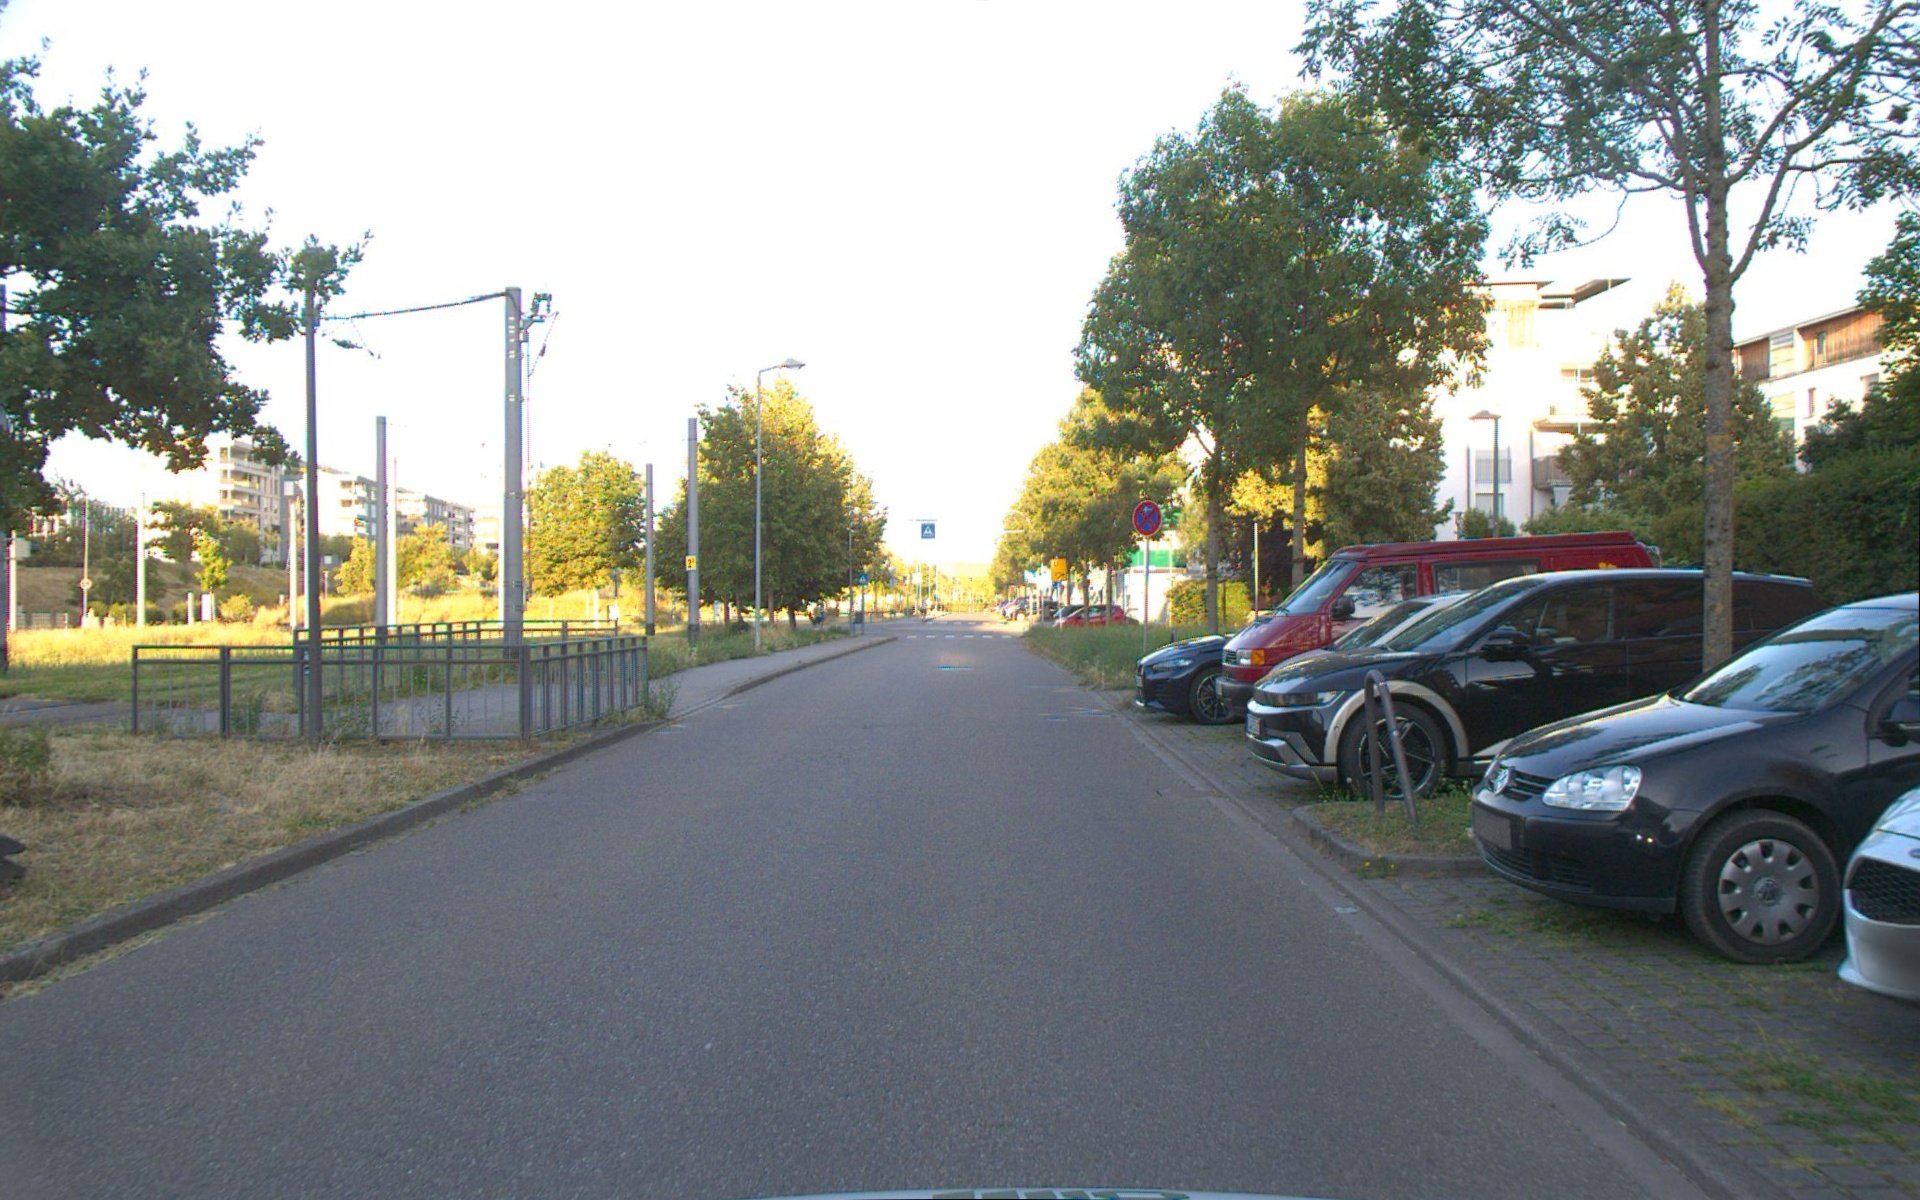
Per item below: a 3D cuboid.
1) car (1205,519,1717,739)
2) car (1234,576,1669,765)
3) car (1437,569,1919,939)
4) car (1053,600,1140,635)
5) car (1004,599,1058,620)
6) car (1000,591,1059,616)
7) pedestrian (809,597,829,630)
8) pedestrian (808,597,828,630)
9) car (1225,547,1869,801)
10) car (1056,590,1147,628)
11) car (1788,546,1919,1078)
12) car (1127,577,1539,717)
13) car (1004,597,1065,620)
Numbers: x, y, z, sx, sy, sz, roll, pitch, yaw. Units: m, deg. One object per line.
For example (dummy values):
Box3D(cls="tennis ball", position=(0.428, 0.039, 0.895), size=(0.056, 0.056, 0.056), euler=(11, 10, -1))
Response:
Box3D(cls="car", position=(5.127, 0.294, 17.487), size=(4.818, 2.154, 2.017), euler=(0, 0, 1))
Box3D(cls="car", position=(4.375, 0.608, 15.086), size=(3.453, 1.490, 1.615), euler=(-2, 0, 0))
Box3D(cls="car", position=(4.257, 0.632, 7.590), size=(3.696, 1.521, 1.539), euler=(0, 0, 0))
Box3D(cls="car", position=(6.065, 0.771, 73.699), size=(3.725, 1.535, 1.678), euler=(-1, 0, -2))
Box3D(cls="car", position=(5.517, 0.750, 129.404), size=(4.175, 1.624, 2.000), euler=(-1, 0, 1))
Box3D(cls="car", position=(6.056, 0.313, 144.694), size=(4.904, 2.081, 2.248), euler=(-1, 0, -4))
Box3D(cls="pedestrian", position=(-7.570, 0.732, 88.926), size=(0.966, 1.723, 0.698), euler=(0, 0, -13))
Box3D(cls="pedestrian", position=(-7.577, 0.709, 88.182), size=(1.001, 1.723, 0.757), euler=(0, 0, -13))
Box3D(cls="car", position=(4.209, 0.510, 12.357), size=(4.129, 1.596, 1.792), euler=(-2, 0, 0))
Box3D(cls="car", position=(6.073, 0.382, 71.037), size=(3.725, 1.535, 1.678), euler=(-1, 0, -2))
Box3D(cls="car", position=(4.776, 0.631, 4.947), size=(3.797, 1.596, 1.620), euler=(0, 0, 0))
Box3D(cls="car", position=(4.387, 0.540, 19.950), size=(4.573, 1.584, 1.811), euler=(0, 0, 1))
Box3D(cls="car", position=(5.473, 0.629, 121.524), size=(4.391, 1.624, 2.000), euler=(-1, 0, 1))
